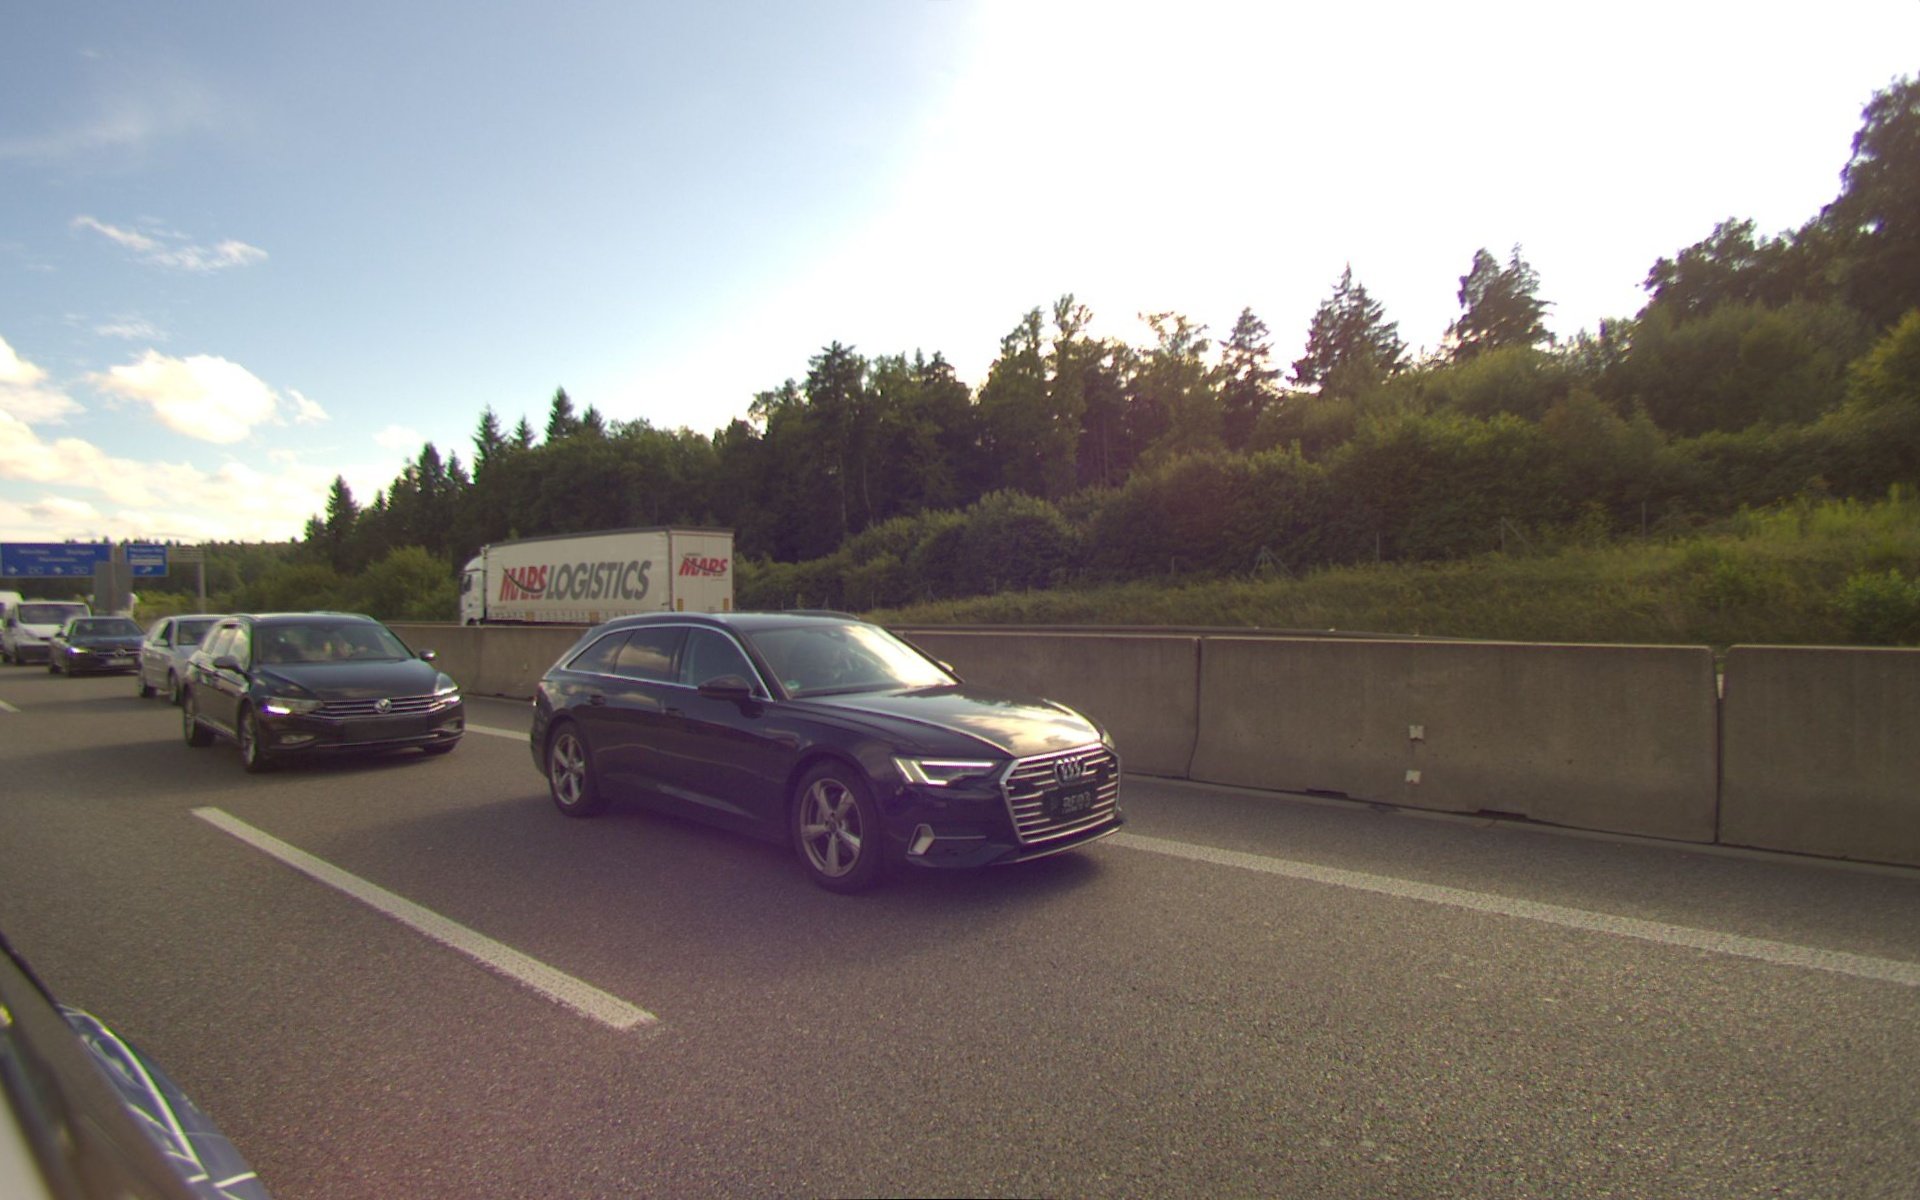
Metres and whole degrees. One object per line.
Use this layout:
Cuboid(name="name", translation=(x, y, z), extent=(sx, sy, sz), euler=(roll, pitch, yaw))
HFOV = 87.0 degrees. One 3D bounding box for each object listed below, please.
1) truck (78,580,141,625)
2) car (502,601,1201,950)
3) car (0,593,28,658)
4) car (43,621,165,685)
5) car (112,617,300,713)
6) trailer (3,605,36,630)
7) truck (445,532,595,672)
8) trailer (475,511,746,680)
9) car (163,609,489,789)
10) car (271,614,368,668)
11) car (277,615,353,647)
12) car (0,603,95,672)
Cuboid(name="truck", translation=(-88.327, 0.284, 104.979), extent=(13.904, 4.387, 2.902), euler=(0, 0, 41))
Cuboid(name="car", translation=(-1.050, 0.792, 6.696), extent=(4.851, 1.483, 1.862), euler=(-1, 0, 43))
Cuboid(name="car", translation=(-40.146, 1.050, 41.669), extent=(5.860, 2.591, 2.027), euler=(-1, -2, 42))
Cuboid(name="car", translation=(-21.404, 1.262, 25.260), extent=(3.993, 1.442, 1.785), euler=(-1, 0, 42))
Cuboid(name="car", translation=(-13.387, 1.043, 17.851), extent=(4.665, 1.442, 1.785), euler=(-1, 0, 42))
Cuboid(name="trailer", translation=(-160.723, 2.953, 172.898), extent=(13.557, 4.234, 2.804), euler=(0, 0, 42))
Cuboid(name="truck", translation=(-18.201, 0.099, 41.676), extent=(6.880, 5.292, 3.008), euler=(-1, 0, 41))
Cuboid(name="trailer", translation=(-13.402, -0.114, 37.458), extent=(13.829, 5.320, 3.010), euler=(0, 0, 41))
Cuboid(name="car", translation=(-6.860, 0.865, 10.722), extent=(4.569, 1.488, 1.890), euler=(-1, -1, 44))
Cuboid(name="car", translation=(-23.440, 1.452, 36.982), extent=(4.322, 1.823, 1.833), euler=(-1, 0, 41))
Cuboid(name="car", translation=(-30.691, 1.458, 48.109), extent=(4.322, 1.438, 1.934), euler=(-1, 0, 41))
Cuboid(name="car", translation=(-28.968, 1.138, 31.930), extent=(4.846, 1.980, 1.922), euler=(-1, 0, 42))
